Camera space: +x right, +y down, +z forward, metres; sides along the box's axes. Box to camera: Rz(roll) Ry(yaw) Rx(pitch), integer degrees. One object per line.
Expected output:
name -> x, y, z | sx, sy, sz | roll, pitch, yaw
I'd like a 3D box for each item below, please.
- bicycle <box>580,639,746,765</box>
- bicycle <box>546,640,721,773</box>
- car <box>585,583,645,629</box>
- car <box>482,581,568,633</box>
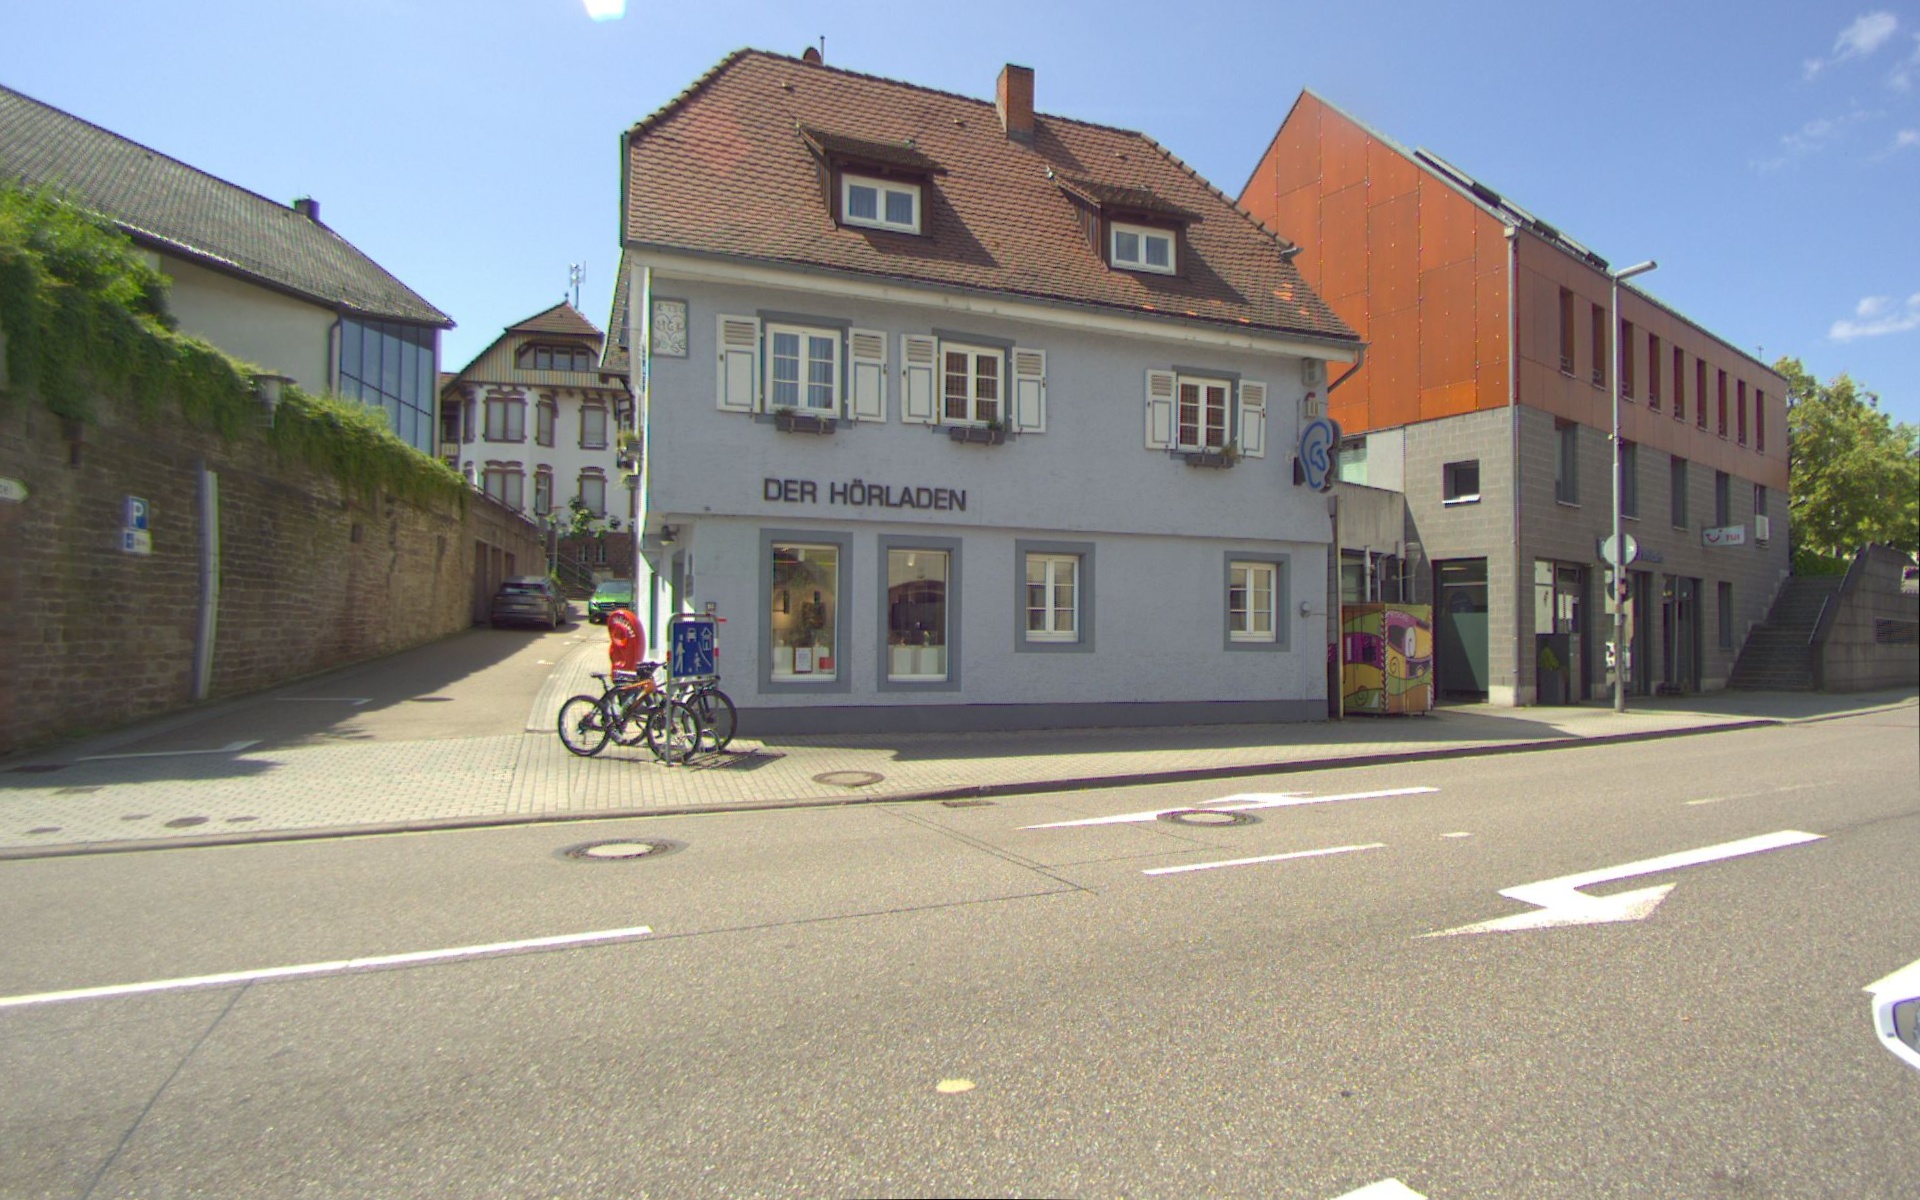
bicycle -> -3.385, 1.127, 11.451 | 1.795, 1.266, 0.578 | 2, 2, 18
bicycle -> -3.518, 1.110, 10.811 | 1.795, 1.266, 0.578 | 2, 2, 18
car -> -12.306, 0.187, 36.001 | 1.738, 1.379, 3.986 | 0, 3, -15
car -> -13.731, 0.229, 31.940 | 1.953, 1.541, 3.987 | 0, 0, -15
